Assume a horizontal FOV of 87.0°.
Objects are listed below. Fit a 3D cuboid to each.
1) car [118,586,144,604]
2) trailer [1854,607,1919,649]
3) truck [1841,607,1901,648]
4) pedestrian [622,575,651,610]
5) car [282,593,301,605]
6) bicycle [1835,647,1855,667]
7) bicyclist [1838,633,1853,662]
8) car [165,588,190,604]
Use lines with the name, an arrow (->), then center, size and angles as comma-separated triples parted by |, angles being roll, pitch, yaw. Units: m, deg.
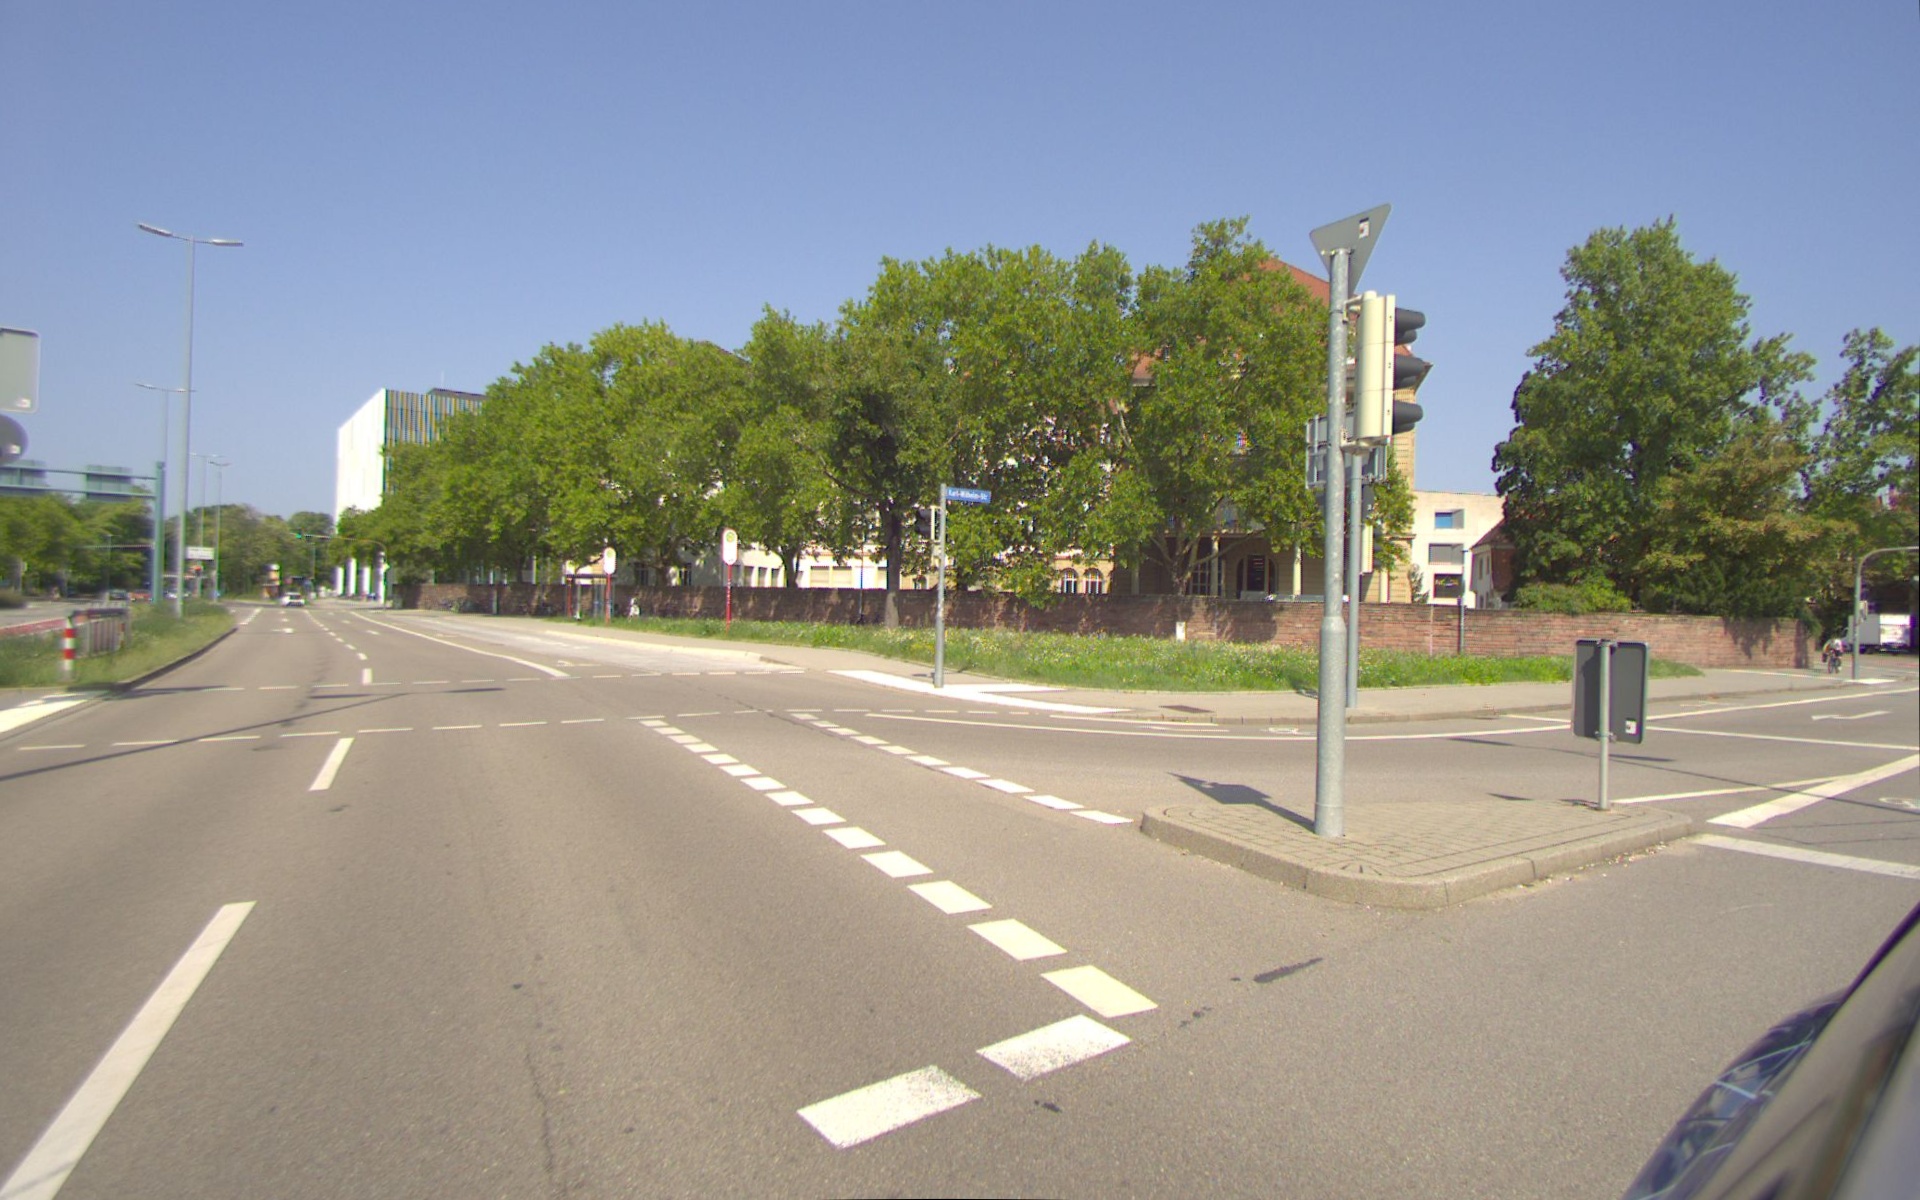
car -> -93.274, -0.539, 113.923 | 2.045, 1.941, 4.193 | 2, 0, -37
trailer -> 75.902, 2.237, 82.557 | 2.407, 3.330, 5.065 | 1, 0, 15
truck -> 76.573, 2.276, 85.128 | 2.395, 3.330, 3.411 | 1, 0, 15
pedestrian -> -19.101, -0.430, 59.760 | 1.226, 2.039, 1.059 | 1, -1, 33
car -> -69.087, -0.065, 104.630 | 1.560, 1.151, 3.265 | 2, 0, -34
bicycle -> 39.321, 2.538, 44.967 | 1.459, 0.822, 0.437 | 2, -1, -40
bicyclist -> 39.375, 2.104, 45.008 | 0.531, 1.248, 0.432 | 2, -1, -40
car -> -86.801, -0.493, 112.293 | 1.961, 1.700, 4.001 | 1, 0, -34
